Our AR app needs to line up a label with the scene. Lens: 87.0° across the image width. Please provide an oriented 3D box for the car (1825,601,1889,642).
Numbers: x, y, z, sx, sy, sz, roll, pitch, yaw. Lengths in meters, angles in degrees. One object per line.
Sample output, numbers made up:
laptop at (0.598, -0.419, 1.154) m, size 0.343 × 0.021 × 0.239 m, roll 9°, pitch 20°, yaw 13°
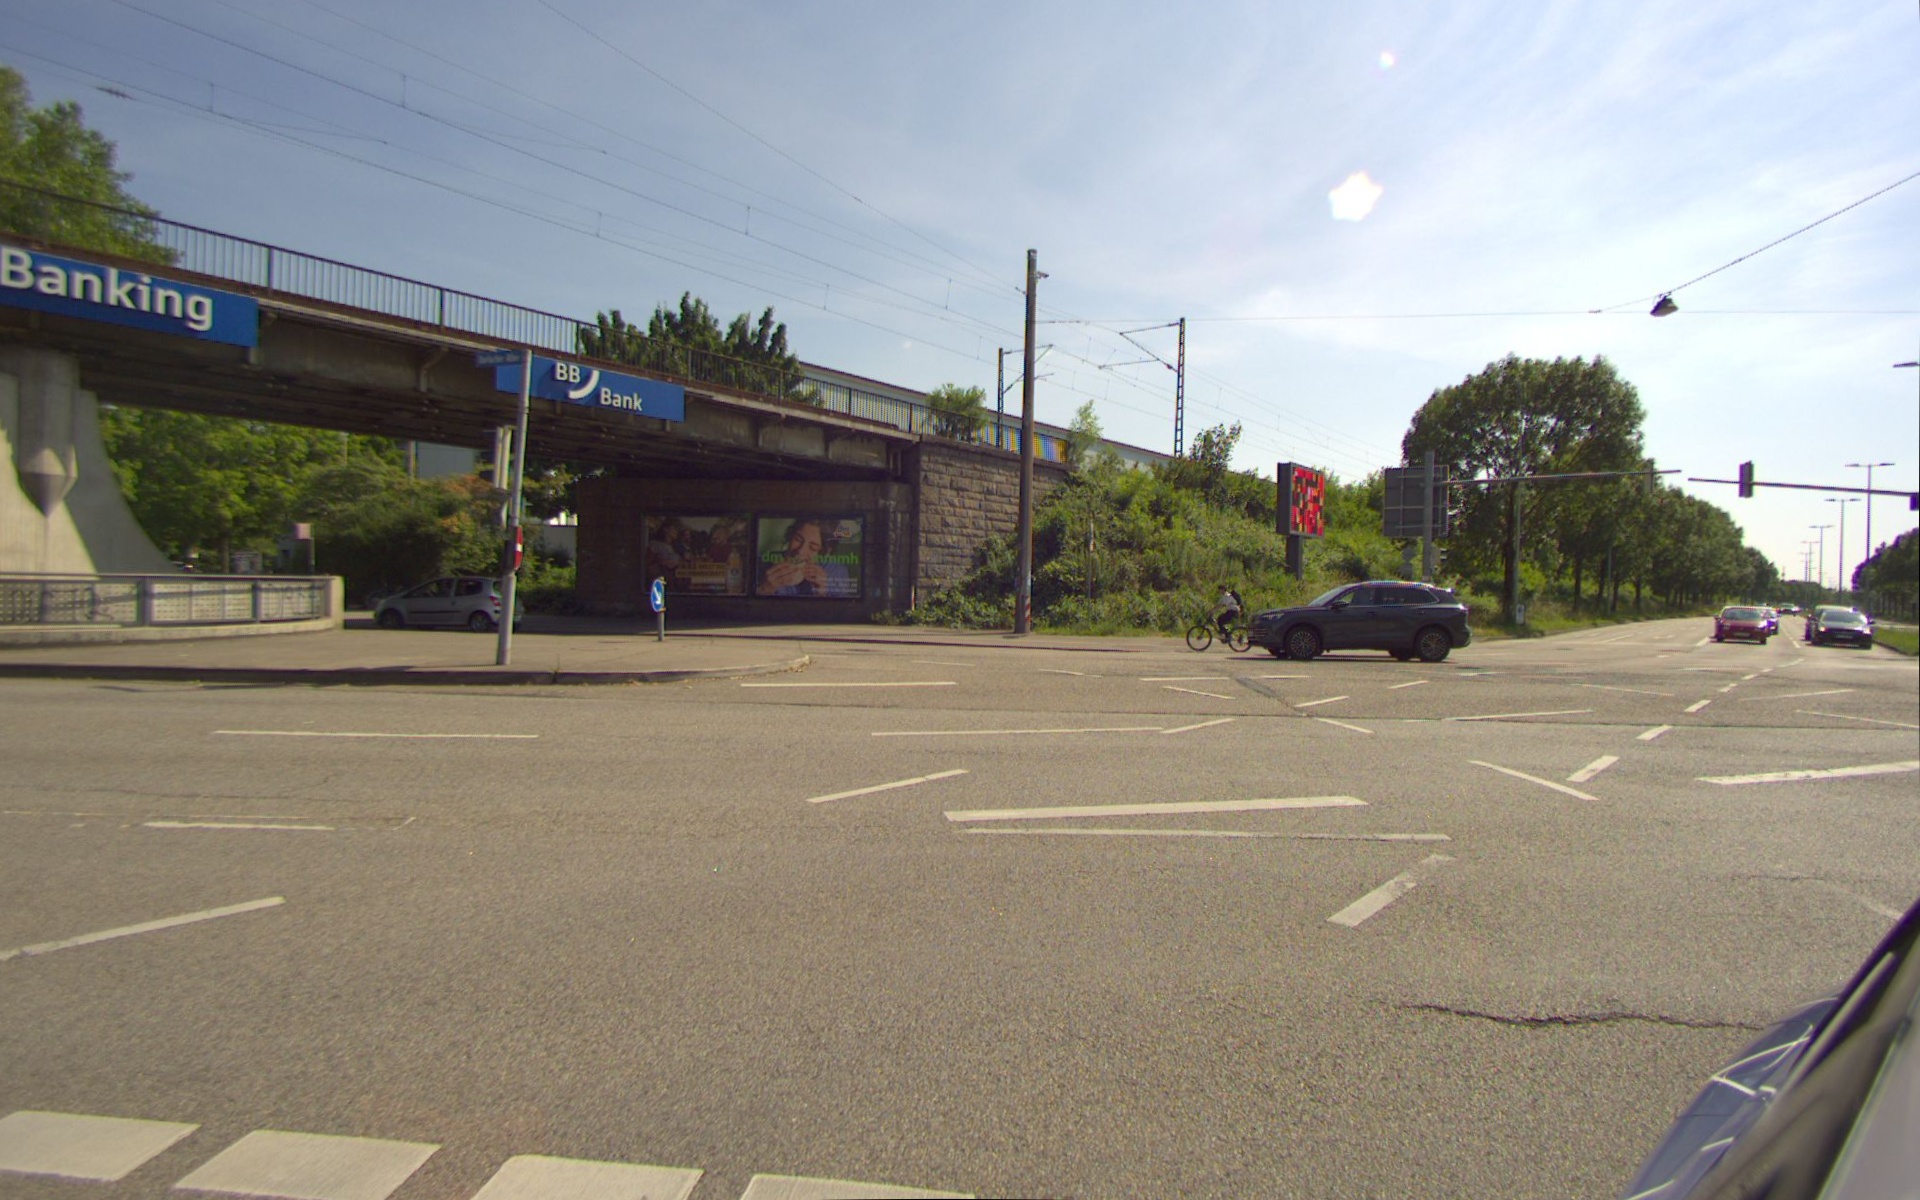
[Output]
car at (35.774, 0.867, 40.336) m, size 1.711 × 1.527 × 3.934 m, roll 0°, pitch -2°, yaw 45°

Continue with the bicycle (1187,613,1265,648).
bicycle at (7.110, 0.819, 27.109) m, size 1.891 × 0.904 × 0.817 m, roll 1°, pitch -2°, yaw 3°

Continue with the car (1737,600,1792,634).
car at (39.935, 0.854, 50.226) m, size 1.711 × 1.527 × 3.934 m, roll 0°, pitch -2°, yaw 45°

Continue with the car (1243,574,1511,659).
car at (8.758, 0.325, 21.637) m, size 4.886 × 1.628 × 1.947 m, roll 1°, pitch 0°, yaw 4°

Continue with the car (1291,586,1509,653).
car at (10.301, 0.439, 23.932) m, size 4.360 × 1.409 × 1.715 m, roll 1°, pitch 0°, yaw 3°

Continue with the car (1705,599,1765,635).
car at (34.887, 0.778, 45.513) m, size 1.711 × 1.527 × 3.935 m, roll 0°, pitch -2°, yaw 44°

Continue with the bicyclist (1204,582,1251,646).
bicyclist at (7.163, 0.384, 27.117) m, size 1.048 × 1.655 × 0.805 m, roll 2°, pitch -2°, yaw 3°

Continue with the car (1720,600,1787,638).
car at (32.296, 0.793, 41.177) m, size 1.711 × 1.411 × 3.934 m, roll 0°, pitch -2°, yaw 45°

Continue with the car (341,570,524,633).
car at (-13.492, 0.038, 25.987) m, size 3.824 × 1.469 × 1.714 m, roll 1°, pitch -1°, yaw 4°
